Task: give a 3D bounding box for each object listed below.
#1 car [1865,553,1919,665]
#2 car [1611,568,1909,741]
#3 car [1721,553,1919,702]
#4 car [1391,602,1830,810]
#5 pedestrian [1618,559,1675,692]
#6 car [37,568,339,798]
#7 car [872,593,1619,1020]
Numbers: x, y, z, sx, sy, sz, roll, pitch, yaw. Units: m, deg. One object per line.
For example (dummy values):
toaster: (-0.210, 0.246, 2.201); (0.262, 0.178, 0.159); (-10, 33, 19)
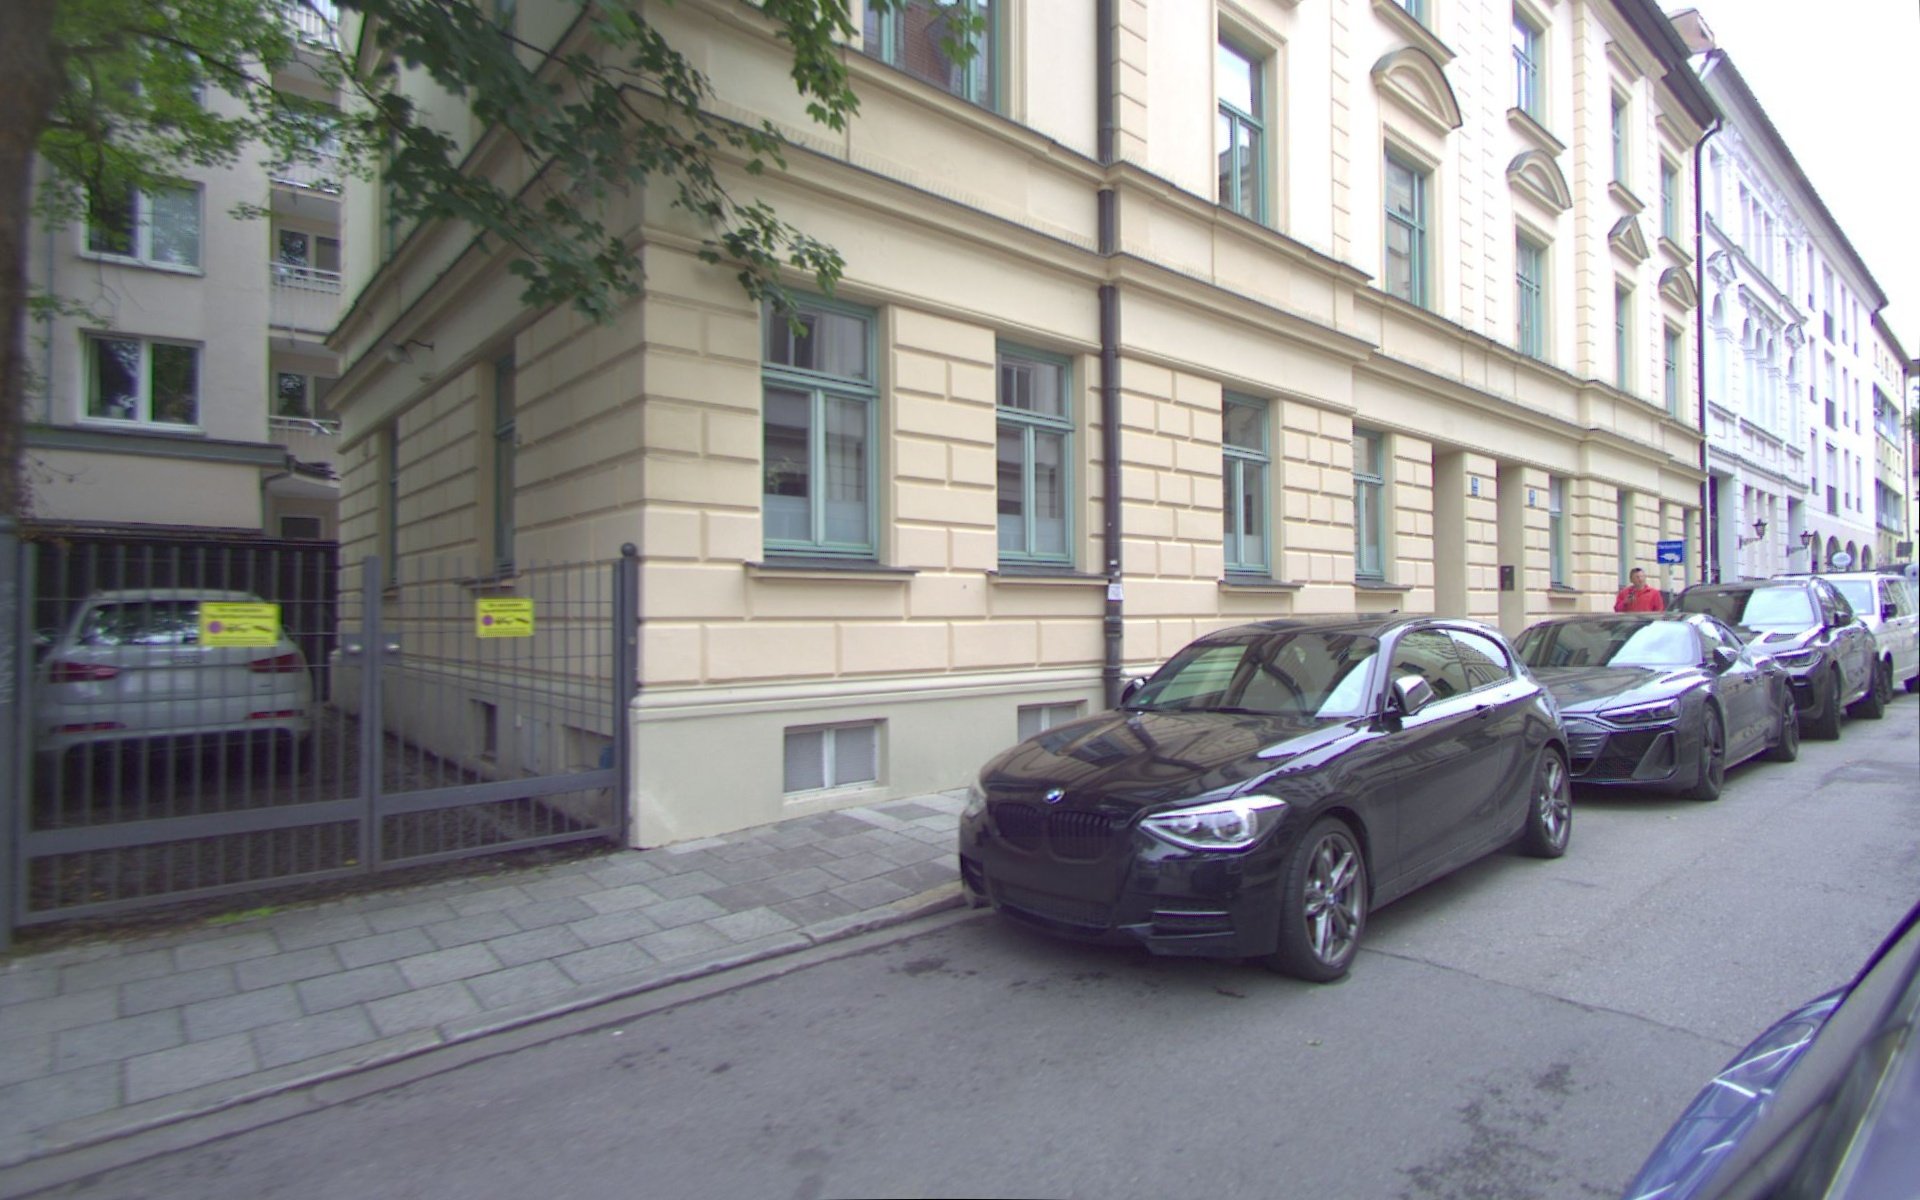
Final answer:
car: (23.913, 0.175, 24.594); (4.999, 2.527, 2.012); (0, -5, -40)
car: (9.759, 0.540, 12.226); (4.430, 1.708, 1.997); (0, -1, -40)
car: (14.158, 0.377, 16.186); (4.972, 2.039, 1.998); (0, -1, -39)
car: (5.811, 0.699, 8.805); (4.512, 1.330, 1.997); (0, 0, -40)
pedestrian: (10.602, 0.384, 15.628); (0.448, 2.003, 0.580); (0, -2, -41)
car: (-7.019, 0.617, 9.064); (1.817, 1.594, 3.805); (0, -2, -42)
car: (1.854, 0.715, 5.545); (4.434, 1.392, 1.856); (0, -3, -43)
